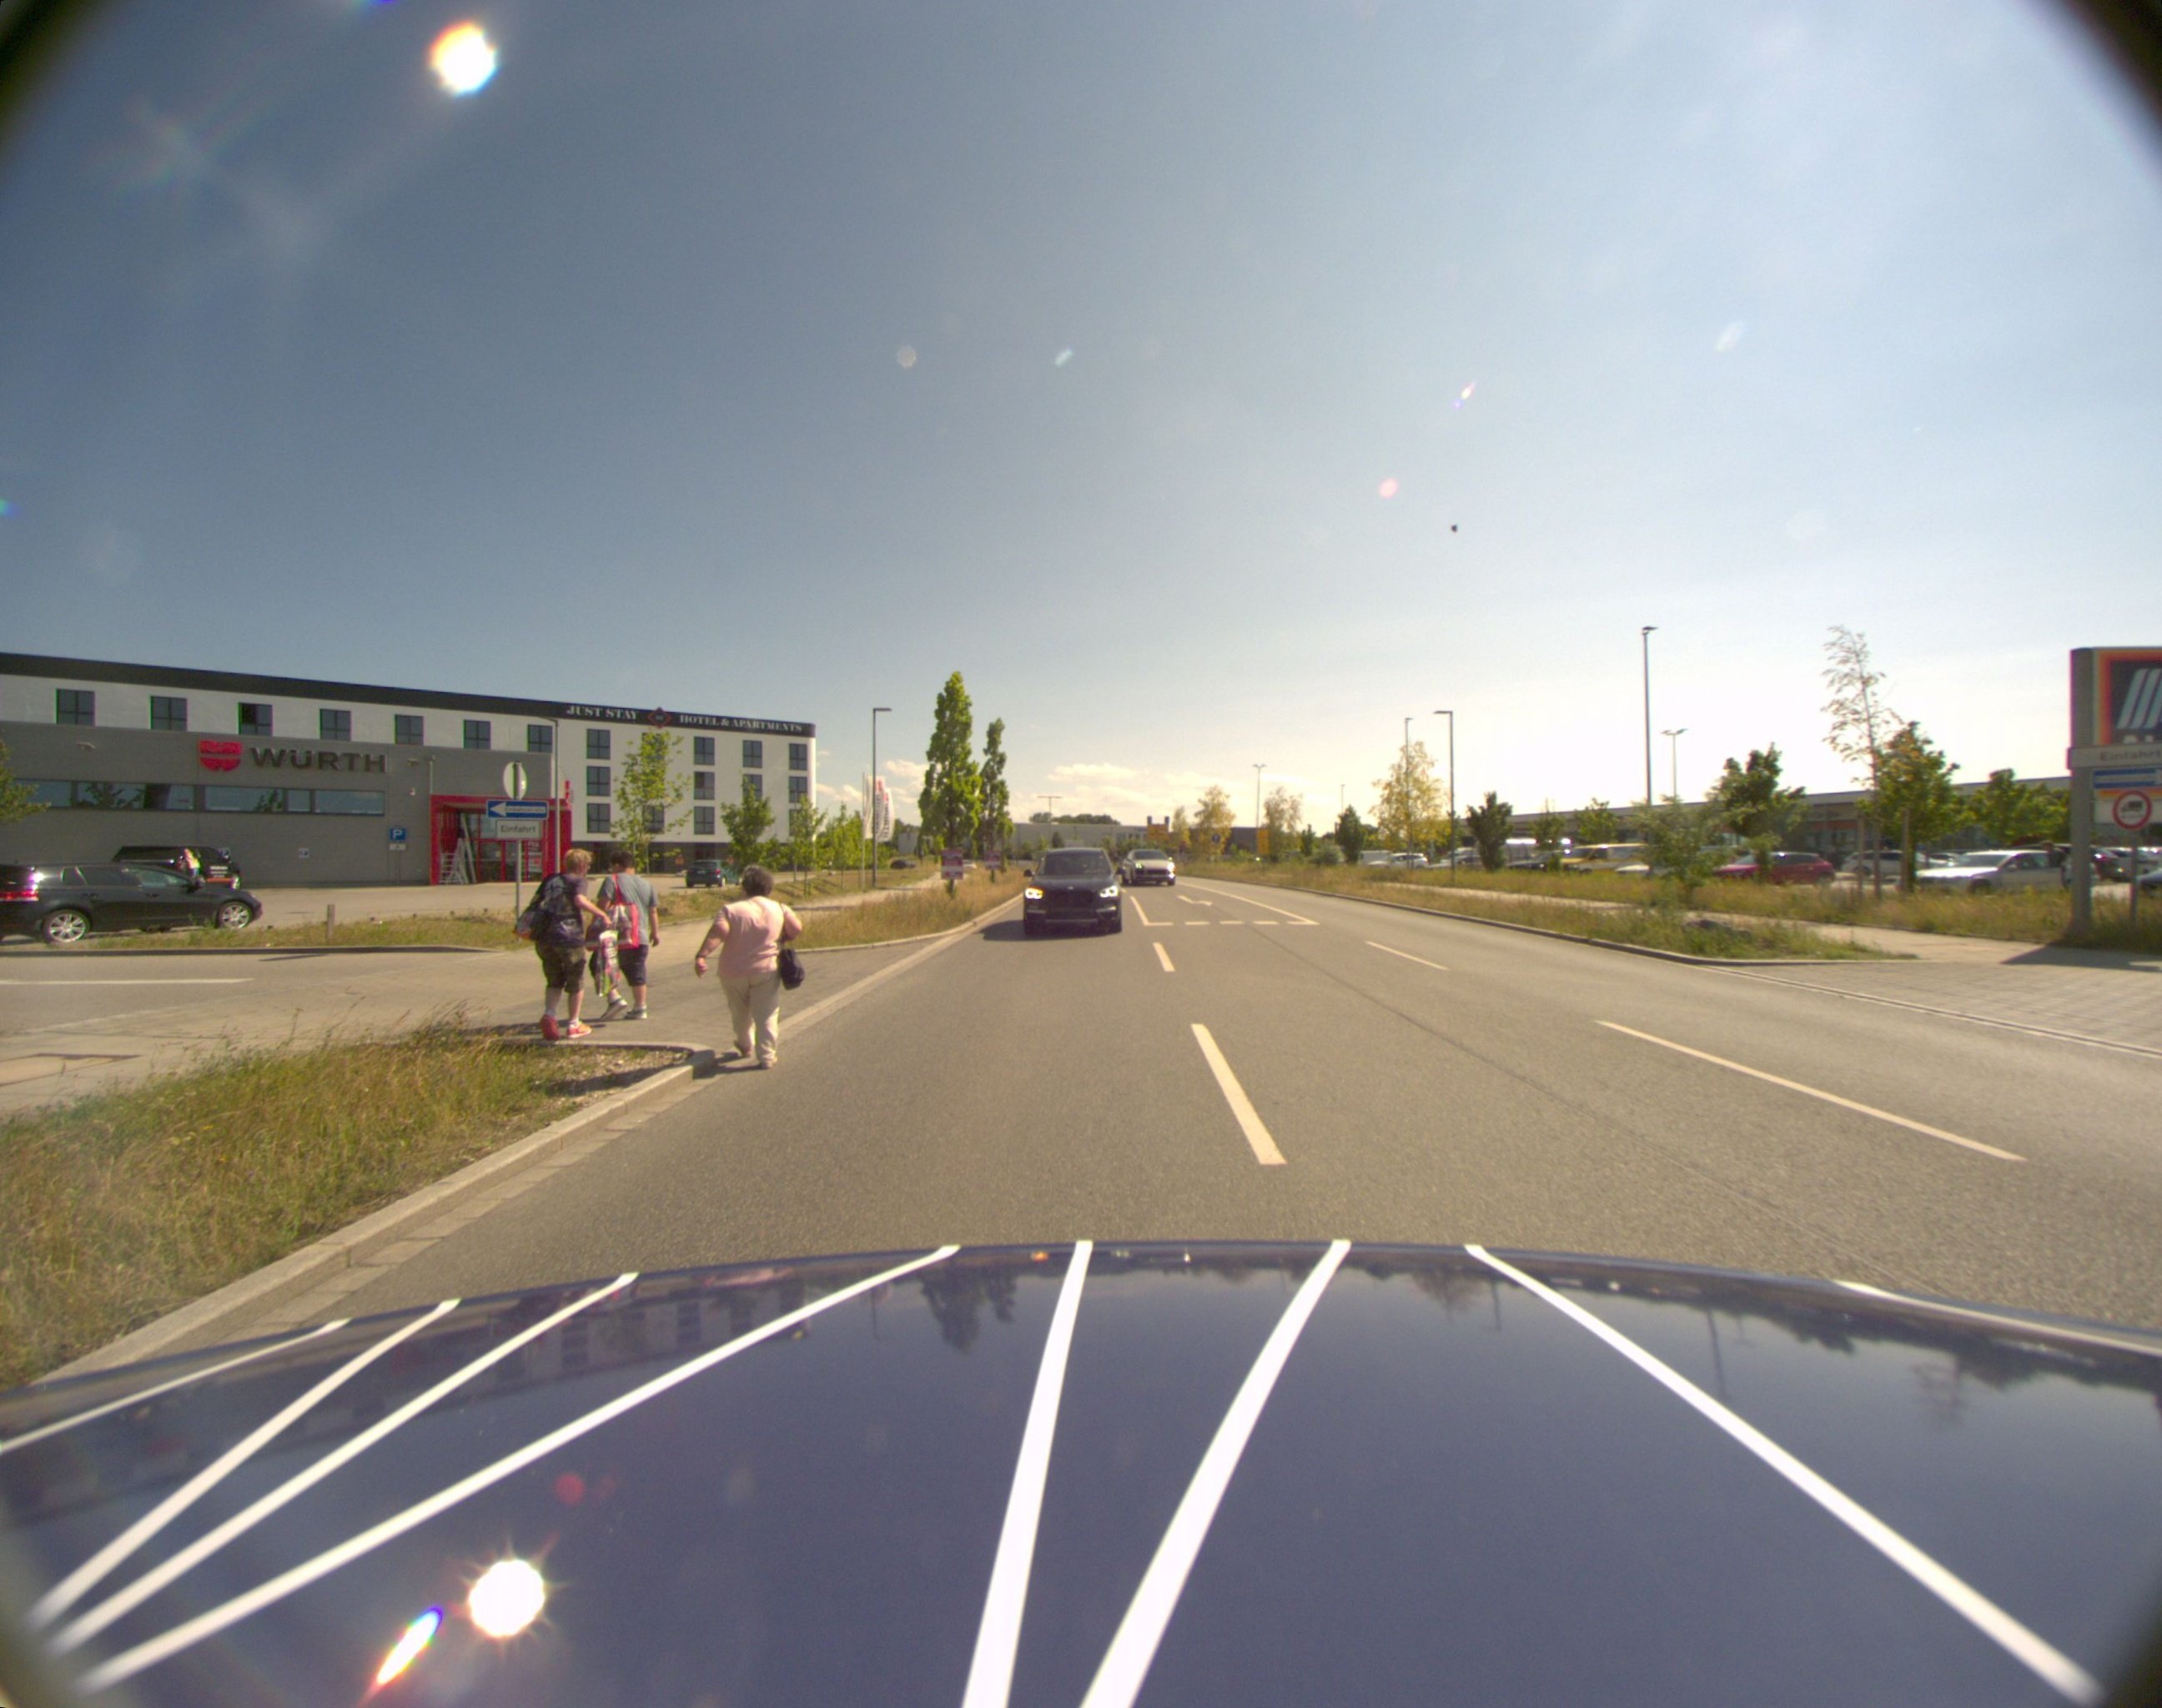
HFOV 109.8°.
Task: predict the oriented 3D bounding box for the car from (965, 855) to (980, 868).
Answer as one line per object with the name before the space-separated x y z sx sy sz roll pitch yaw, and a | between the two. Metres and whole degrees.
car | -13.046 0.887 91.551 1.787 1.485 3.997 -1 1 -8

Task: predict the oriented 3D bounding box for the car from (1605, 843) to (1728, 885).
car | 26.620 0.440 34.629 4.155 1.850 1.932 0 0 -2

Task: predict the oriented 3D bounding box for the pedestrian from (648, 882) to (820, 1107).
pedestrian | -2.502 0.966 5.596 0.795 1.461 0.949 -1 1 0

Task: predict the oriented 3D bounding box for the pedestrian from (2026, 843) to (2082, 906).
pedestrian | 26.657 0.552 20.824 0.766 1.685 0.578 -1 1 0

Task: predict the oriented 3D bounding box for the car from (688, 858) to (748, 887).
car | -18.581 0.928 39.088 1.518 1.399 3.998 0 0 -6

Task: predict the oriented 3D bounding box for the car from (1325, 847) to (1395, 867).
car | 22.862 0.238 62.331 5.199 1.662 1.997 0 0 -14

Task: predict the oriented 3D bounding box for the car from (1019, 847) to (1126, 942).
car | -0.282 0.789 16.034 1.901 1.669 4.466 -1 -1 -3

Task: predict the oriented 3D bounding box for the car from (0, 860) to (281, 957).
car | -18.460 0.918 14.569 1.784 1.531 4.169 0 0 1

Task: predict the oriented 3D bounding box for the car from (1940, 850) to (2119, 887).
car | 39.292 0.557 31.624 1.719 1.408 4.347 0 0 -21

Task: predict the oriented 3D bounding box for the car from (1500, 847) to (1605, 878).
car | 25.942 0.454 41.912 4.782 1.662 1.881 0 0 -6

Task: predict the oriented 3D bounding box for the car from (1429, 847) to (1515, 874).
car | 25.489 0.420 49.582 4.716 1.662 1.999 0 0 -7

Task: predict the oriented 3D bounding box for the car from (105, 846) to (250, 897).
car | -34.883 0.619 29.554 2.052 1.805 4.912 0 0 -30

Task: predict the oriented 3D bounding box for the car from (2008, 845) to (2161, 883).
car | 44.631 0.416 33.555 1.719 1.562 4.347 0 0 -21

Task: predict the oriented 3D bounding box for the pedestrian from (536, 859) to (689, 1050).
pedestrian | -4.245 0.865 6.956 0.811 1.619 0.866 -1 1 0

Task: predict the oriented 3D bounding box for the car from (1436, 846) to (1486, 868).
car | 43.924 0.329 87.733 5.726 2.572 1.936 0 0 -23

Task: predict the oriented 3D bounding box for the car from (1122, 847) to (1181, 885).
car | 3.228 0.581 35.913 2.115 1.633 4.777 -1 -1 -2

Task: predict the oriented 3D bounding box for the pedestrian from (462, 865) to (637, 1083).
pedestrian | -4.245 0.911 6.138 0.803 1.620 0.804 -1 1 0

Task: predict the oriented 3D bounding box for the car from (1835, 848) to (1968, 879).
car | 42.312 0.456 39.316 1.719 1.517 4.347 0 0 -19

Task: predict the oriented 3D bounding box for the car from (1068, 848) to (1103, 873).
car | 0.279 0.434 54.142 1.758 1.678 4.377 0 0 -9

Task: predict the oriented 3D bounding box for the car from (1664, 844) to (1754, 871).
car | 42.917 0.247 52.059 1.719 1.731 4.576 0 0 -18

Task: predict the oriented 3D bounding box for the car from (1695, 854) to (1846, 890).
car | 26.895 0.668 29.744 4.154 1.340 1.936 0 0 -1

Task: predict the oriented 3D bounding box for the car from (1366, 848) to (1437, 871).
car | 24.110 0.417 57.254 4.604 1.662 1.998 0 0 -8

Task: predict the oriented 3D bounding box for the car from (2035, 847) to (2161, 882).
car | 46.948 0.464 34.428 1.719 1.523 4.347 0 0 -21

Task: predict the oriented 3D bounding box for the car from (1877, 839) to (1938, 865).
car | 58.321 -0.160 53.586 4.360 1.797 1.713 0 0 -26

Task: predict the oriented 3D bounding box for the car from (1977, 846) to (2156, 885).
car | 41.905 0.471 32.462 1.719 1.540 4.347 0 0 -21

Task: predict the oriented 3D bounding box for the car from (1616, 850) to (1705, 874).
car | 37.935 0.509 49.870 1.719 1.517 4.346 0 0 -22

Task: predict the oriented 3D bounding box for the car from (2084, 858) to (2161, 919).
car | 25.876 0.753 17.070 4.154 1.340 1.936 0 0 -1

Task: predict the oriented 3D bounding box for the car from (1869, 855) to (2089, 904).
car | 26.075 0.722 22.172 4.154 1.340 1.936 0 0 -1

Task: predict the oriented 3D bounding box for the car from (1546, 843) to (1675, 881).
car | 27.635 0.399 39.736 5.699 1.953 1.999 0 0 -7
